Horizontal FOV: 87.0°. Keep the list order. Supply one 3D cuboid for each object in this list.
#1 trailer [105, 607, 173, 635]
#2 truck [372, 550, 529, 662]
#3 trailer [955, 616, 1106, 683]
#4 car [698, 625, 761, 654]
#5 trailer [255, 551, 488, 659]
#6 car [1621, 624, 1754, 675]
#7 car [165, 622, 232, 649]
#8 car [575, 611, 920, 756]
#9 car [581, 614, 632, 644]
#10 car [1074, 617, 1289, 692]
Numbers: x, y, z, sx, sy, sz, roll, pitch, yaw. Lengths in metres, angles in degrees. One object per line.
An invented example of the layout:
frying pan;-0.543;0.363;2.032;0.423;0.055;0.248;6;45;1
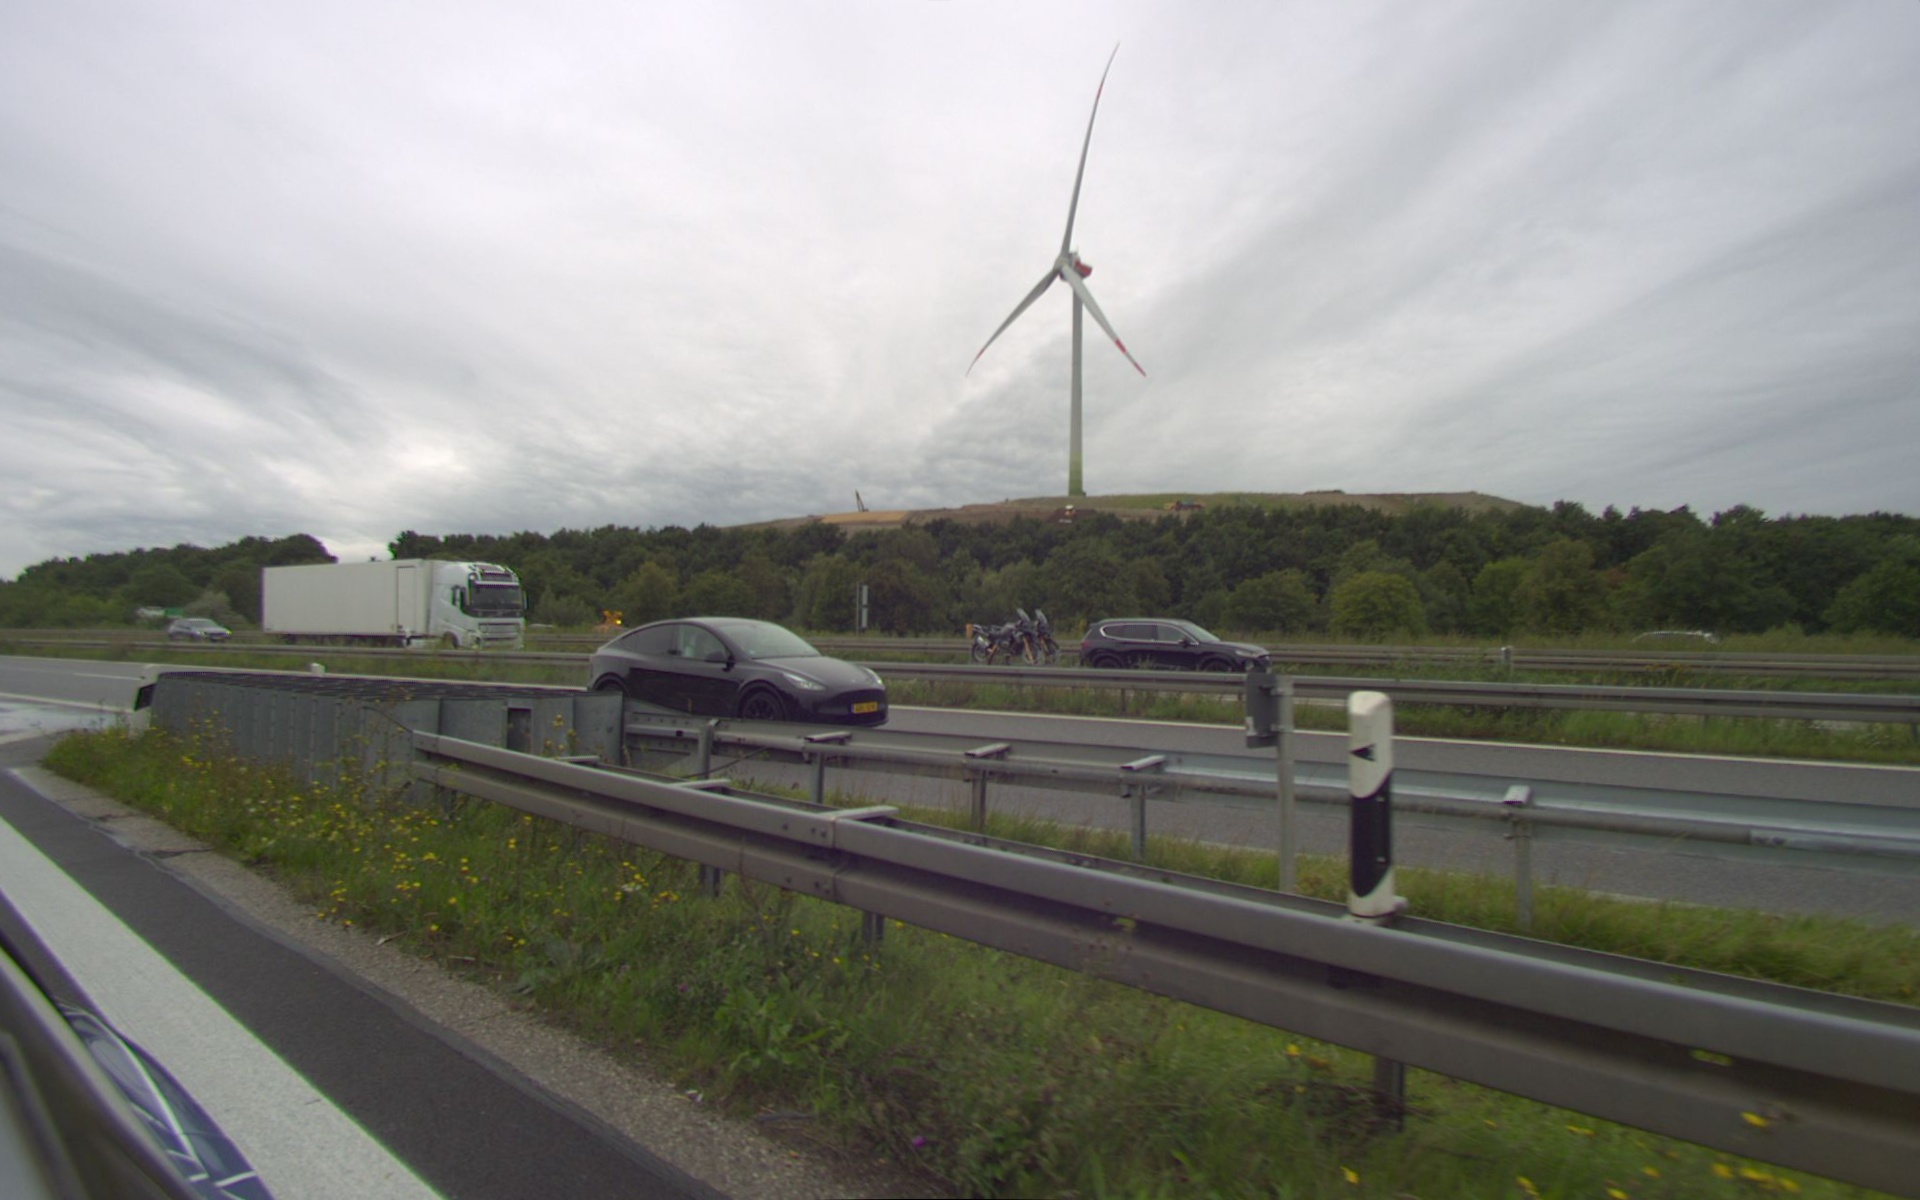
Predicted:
trailer;-102.617;2.665;126.345;11.764;3.429;2.937;-1;-2;32
truck;-20.390;0.279;40.421;6.425;4.166;2.744;-1;-1;33
trailer;1.857;1.262;26.904;3.600;1.638;1.867;0;-1;33
car;-15.053;2.541;66.117;3.992;1.741;1.835;0;-1;36
trailer;-25.847;0.309;43.950;13.908;4.166;2.744;-1;-1;33
car;27.252;1.820;38.035;3.992;1.741;1.835;0;-1;36
car;-47.915;2.222;63.671;4.470;1.663;1.884;-1;-2;32
car;-2.931;0.969;13.613;4.541;1.650;1.945;0;-1;34
car;-29.416;2.401;84.279;3.987;2.394;2.007;-1;-2;32
car;5.331;1.244;24.628;4.793;1.638;1.867;0;-1;33
